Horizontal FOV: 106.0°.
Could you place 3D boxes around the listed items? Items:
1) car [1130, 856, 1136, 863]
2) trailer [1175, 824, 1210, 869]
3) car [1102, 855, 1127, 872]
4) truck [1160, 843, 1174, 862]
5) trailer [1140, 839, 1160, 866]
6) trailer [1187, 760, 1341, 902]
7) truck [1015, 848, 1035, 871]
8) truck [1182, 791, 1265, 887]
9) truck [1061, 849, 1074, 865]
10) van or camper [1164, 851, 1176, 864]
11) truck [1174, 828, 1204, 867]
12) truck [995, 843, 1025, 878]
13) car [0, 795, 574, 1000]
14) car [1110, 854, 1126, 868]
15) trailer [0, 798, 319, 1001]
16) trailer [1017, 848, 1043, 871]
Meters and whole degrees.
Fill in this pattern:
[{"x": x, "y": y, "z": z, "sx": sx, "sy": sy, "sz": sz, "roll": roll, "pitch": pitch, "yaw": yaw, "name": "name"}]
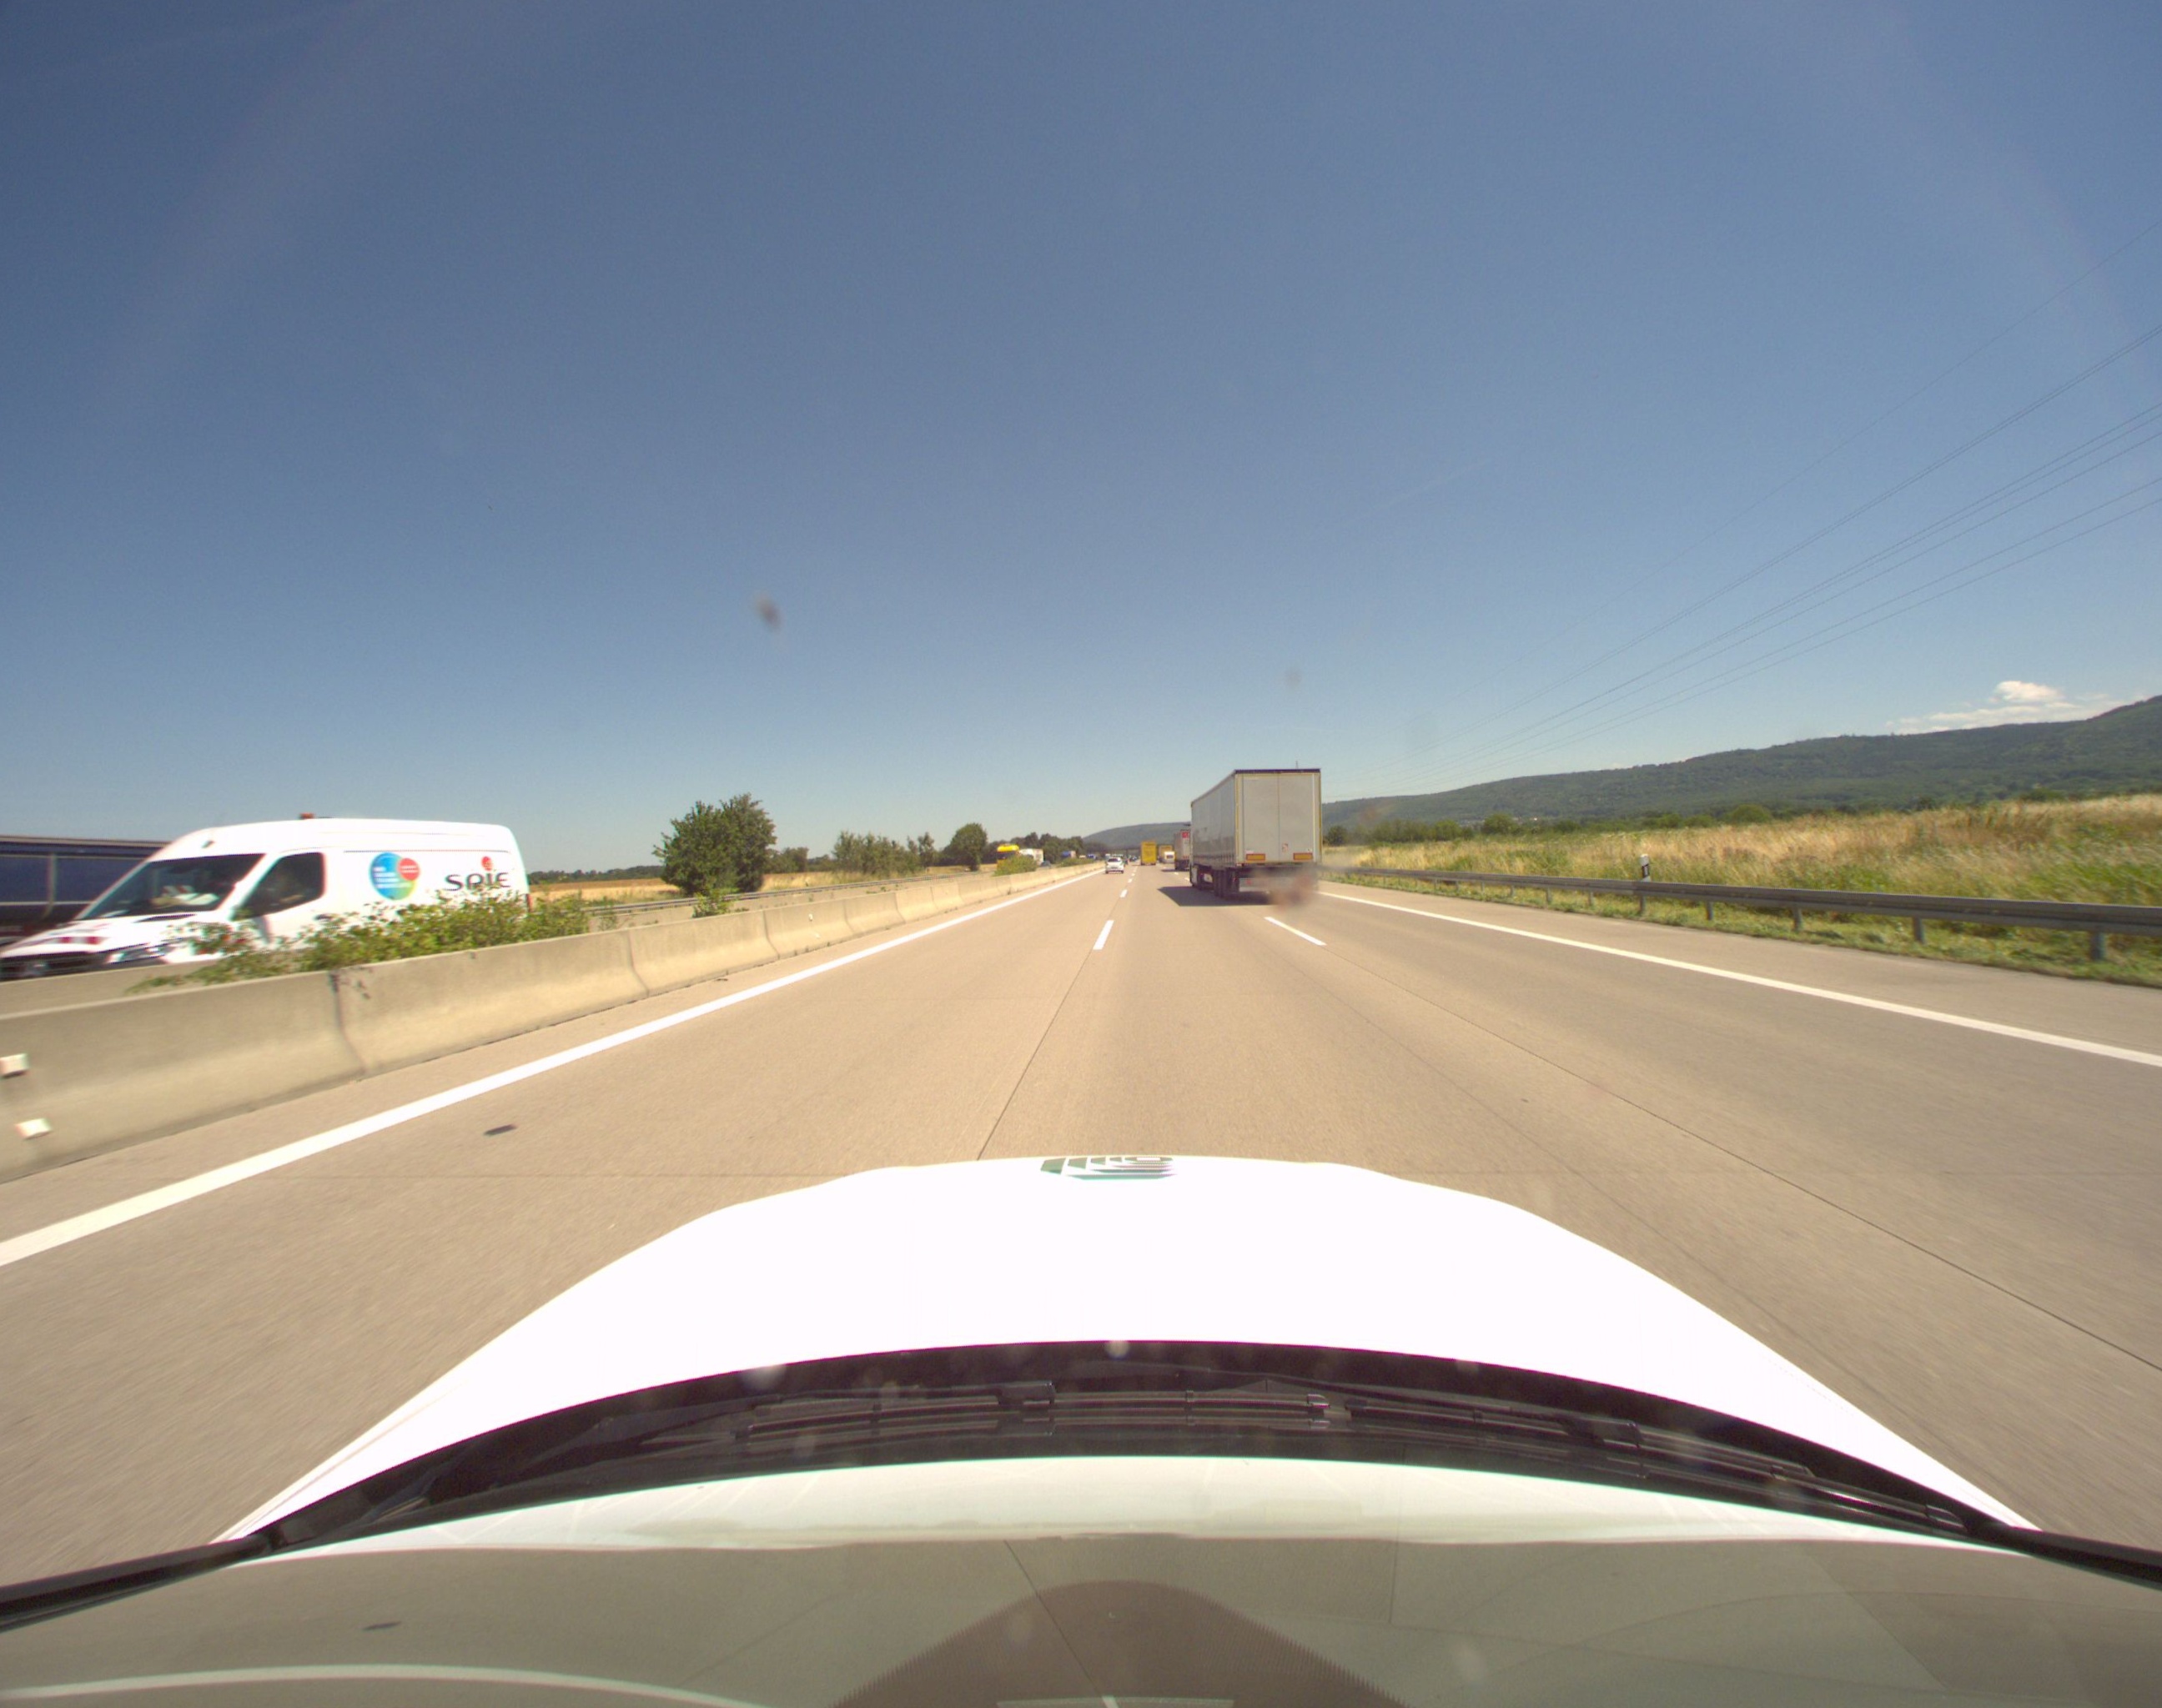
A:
[{"x": 15.142, "y": 1.532, "z": 236.787, "sx": 1.775, "sy": 1.881, "sz": 4.005, "roll": -1, "pitch": 0, "yaw": 4, "name": "car"}, {"x": 11.205, "y": -0.686, "z": 82.952, "sx": 2.860, "sy": 4.100, "sz": 13.531, "roll": -1, "pitch": 0, "yaw": 5, "name": "trailer"}, {"x": 3.201, "y": 0.877, "z": 77.121, "sx": 2.097, "sy": 1.536, "sz": 4.128, "roll": -1, "pitch": 0, "yaw": 5, "name": "car"}, {"x": 19.642, "y": -0.332, "z": 186.400, "sx": 2.985, "sy": 4.314, "sz": 9.695, "roll": -1, "pitch": 0, "yaw": 4, "name": "truck"}, {"x": 12.176, "y": -0.279, "z": 143.924, "sx": 3.201, "sy": 4.563, "sz": 13.473, "roll": -1, "pitch": 0, "yaw": 5, "name": "trailer"}, {"x": 6.192, "y": -0.647, "z": 30.623, "sx": 3.006, "sy": 4.061, "sz": 14.213, "roll": -1, "pitch": 0, "yaw": 2, "name": "trailer"}, {"x": -9.627, "y": 0.956, "z": 140.866, "sx": 2.758, "sy": 3.840, "sz": 4.456, "roll": -1, "pitch": 0, "yaw": 4, "name": "truck"}, {"x": 6.423, "y": -0.625, "z": 37.412, "sx": 2.973, "sy": 4.062, "sz": 5.480, "roll": -1, "pitch": 0, "yaw": 2, "name": "truck"}, {"x": -3.620, "y": 0.788, "z": 213.532, "sx": 2.884, "sy": 3.864, "sz": 5.690, "roll": -1, "pitch": 0, "yaw": 4, "name": "truck"}, {"x": 17.208, "y": 0.643, "z": 157.845, "sx": 2.214, "sy": 2.531, "sz": 5.436, "roll": -1, "pitch": 0, "yaw": 4, "name": "van or camper"}, {"x": 11.805, "y": -0.673, "z": 89.530, "sx": 2.892, "sy": 4.100, "sz": 6.280, "roll": -1, "pitch": 0, "yaw": 5, "name": "truck"}, {"x": -8.615, "y": 0.741, "z": 99.055, "sx": 2.732, "sy": 4.080, "sz": 5.545, "roll": -1, "pitch": 0, "yaw": 3, "name": "truck"}, {"x": -10.740, "y": 0.486, "z": 11.995, "sx": 2.200, "sy": 2.188, "sz": 6.332, "roll": -1, "pitch": 0, "yaw": 4, "name": "car"}, {"x": 5.548, "y": 1.091, "z": 122.542, "sx": 2.244, "sy": 2.013, "sz": 4.303, "roll": -1, "pitch": 0, "yaw": 5, "name": "car"}, {"x": -19.039, "y": 0.764, "z": 13.838, "sx": 2.815, "sy": 3.304, "sz": 9.473, "roll": -1, "pitch": 0, "yaw": 4, "name": "trailer"}, {"x": -9.151, "y": 0.981, "z": 147.447, "sx": 2.758, "sy": 3.802, "sz": 13.842, "roll": -1, "pitch": 0, "yaw": 4, "name": "trailer"}]
